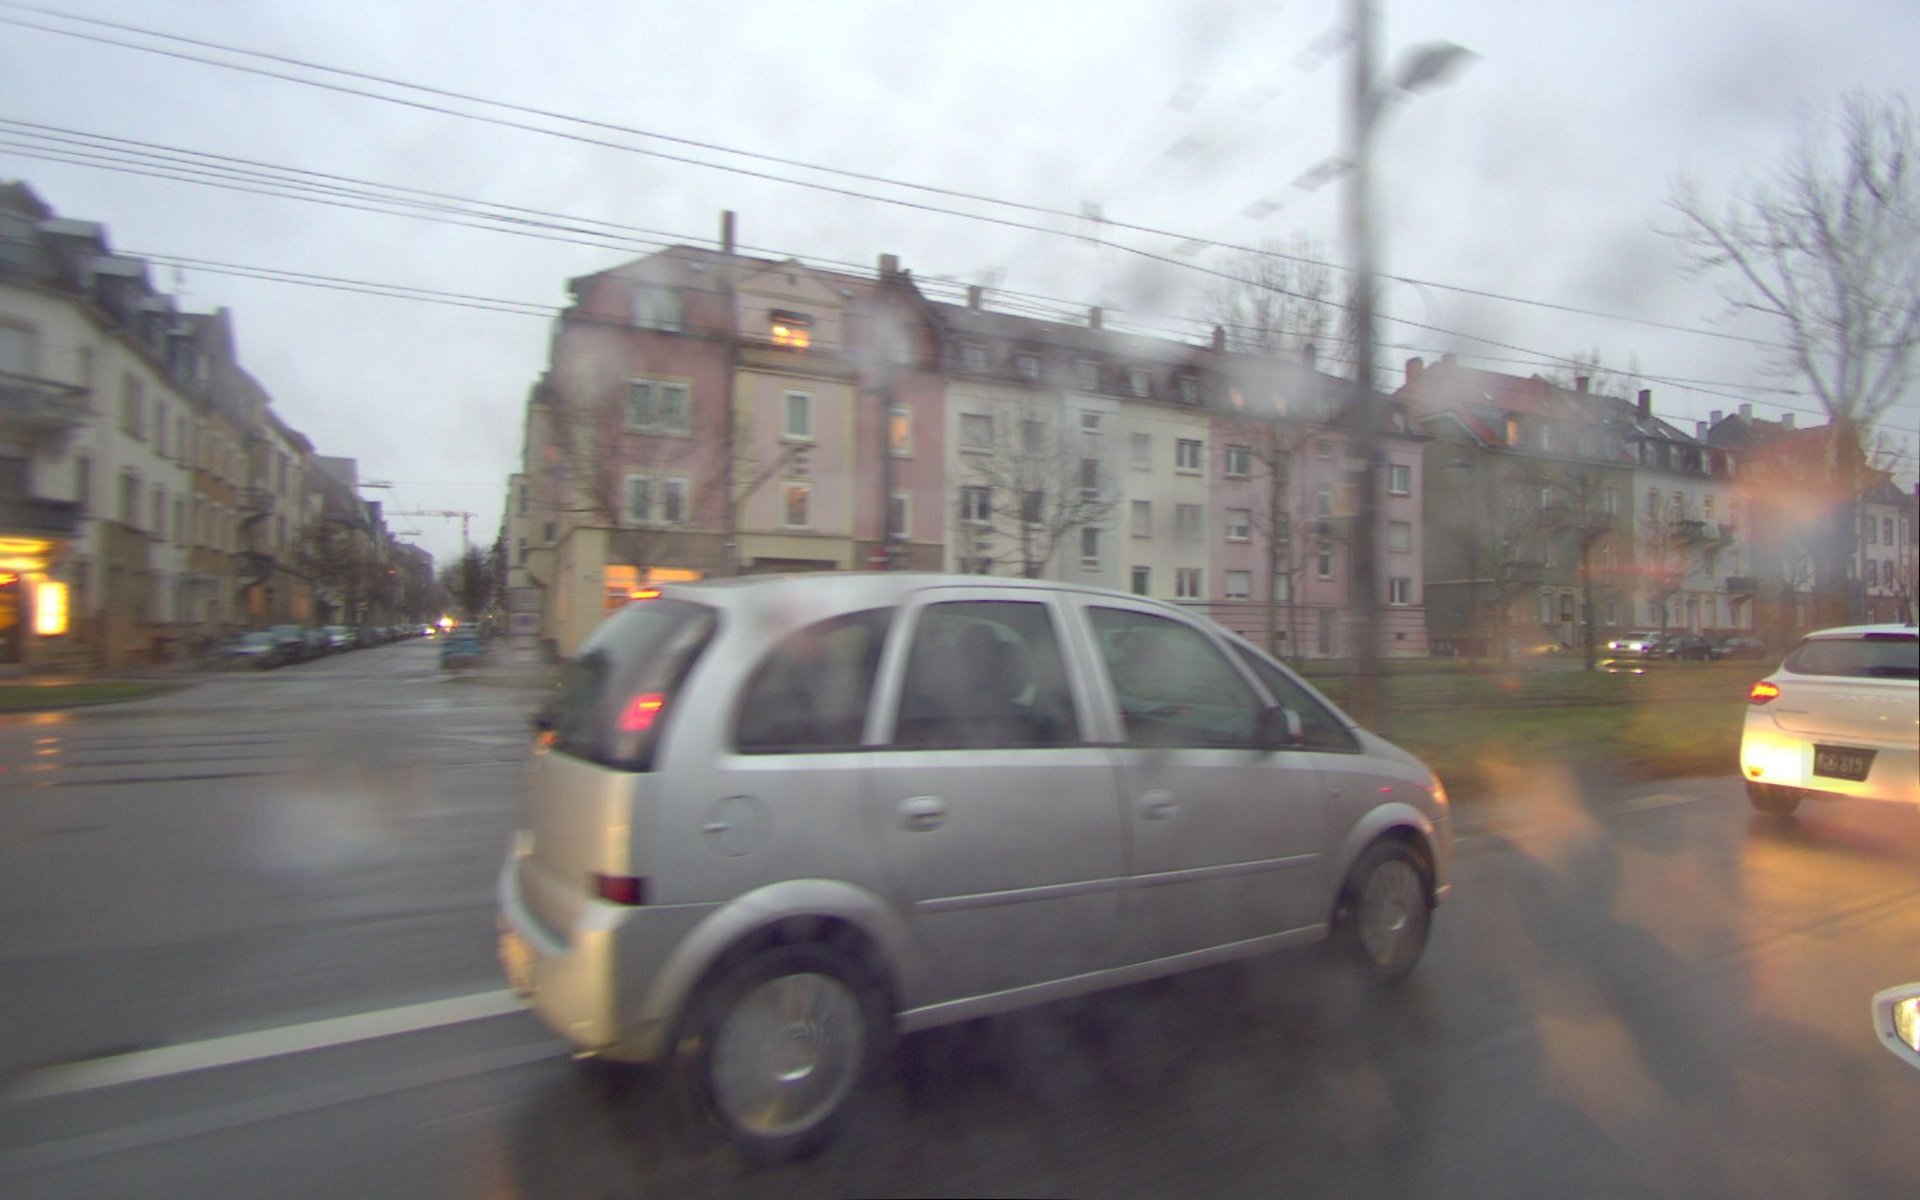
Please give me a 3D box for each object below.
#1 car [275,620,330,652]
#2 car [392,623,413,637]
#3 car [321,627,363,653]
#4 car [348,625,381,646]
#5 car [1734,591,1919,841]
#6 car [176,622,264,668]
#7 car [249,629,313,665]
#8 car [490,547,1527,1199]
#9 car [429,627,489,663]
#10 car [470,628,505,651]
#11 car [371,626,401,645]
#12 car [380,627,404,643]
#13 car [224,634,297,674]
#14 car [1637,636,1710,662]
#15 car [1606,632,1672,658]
[{"bbox_3d":[-32.467,1.781,49.660,1.771,1.505,3.974,1,-2,-26],"label":"car"},{"bbox_3d":[-60.750,3.298,109.475,1.771,1.505,3.974,1,-2,-26],"label":"car"},{"bbox_3d":[-37.798,2.432,61.477,1.771,1.505,3.974,1,-2,-26],"label":"car"},{"bbox_3d":[-43.637,2.594,73.639,1.771,1.505,3.974,1,-2,-26],"label":"car"},{"bbox_3d":[7.876,0.802,7.733,4.006,1.621,1.664,1,-1,-30],"label":"car"},{"bbox_3d":[-25.669,1.542,34.978,1.771,1.505,3.974,1,-2,-26],"label":"car"},{"bbox_3d":[-29.979,2.063,44.432,1.771,1.505,3.974,1,-2,-26],"label":"car"},{"bbox_3d":[0.364,0.740,4.175,4.009,1.621,1.799,2,-1,-32],"label":"car"},{"bbox_3d":[-21.453,1.888,42.946,1.977,1.439,3.967,1,-2,-31],"label":"car"},{"bbox_3d":[-30.664,2.566,65.224,1.973,1.439,3.974,1,-2,-26],"label":"car"},{"bbox_3d":[-46.221,2.880,80.904,1.771,1.505,4.631,1,-2,-26],"label":"car"},{"bbox_3d":[-54.774,3.369,96.871,1.771,1.505,3.974,1,-2,-26],"label":"car"},{"bbox_3d":[-27.558,2.090,39.678,1.771,1.505,3.974,1,-2,-26],"label":"car"},{"bbox_3d":[38.449,2.621,54.130,3.511,1.372,1.770,1,-2,-27],"label":"car"},{"bbox_3d":[40.555,2.679,59.973,3.511,1.520,1.770,1,-2,-27],"label":"car"}]
